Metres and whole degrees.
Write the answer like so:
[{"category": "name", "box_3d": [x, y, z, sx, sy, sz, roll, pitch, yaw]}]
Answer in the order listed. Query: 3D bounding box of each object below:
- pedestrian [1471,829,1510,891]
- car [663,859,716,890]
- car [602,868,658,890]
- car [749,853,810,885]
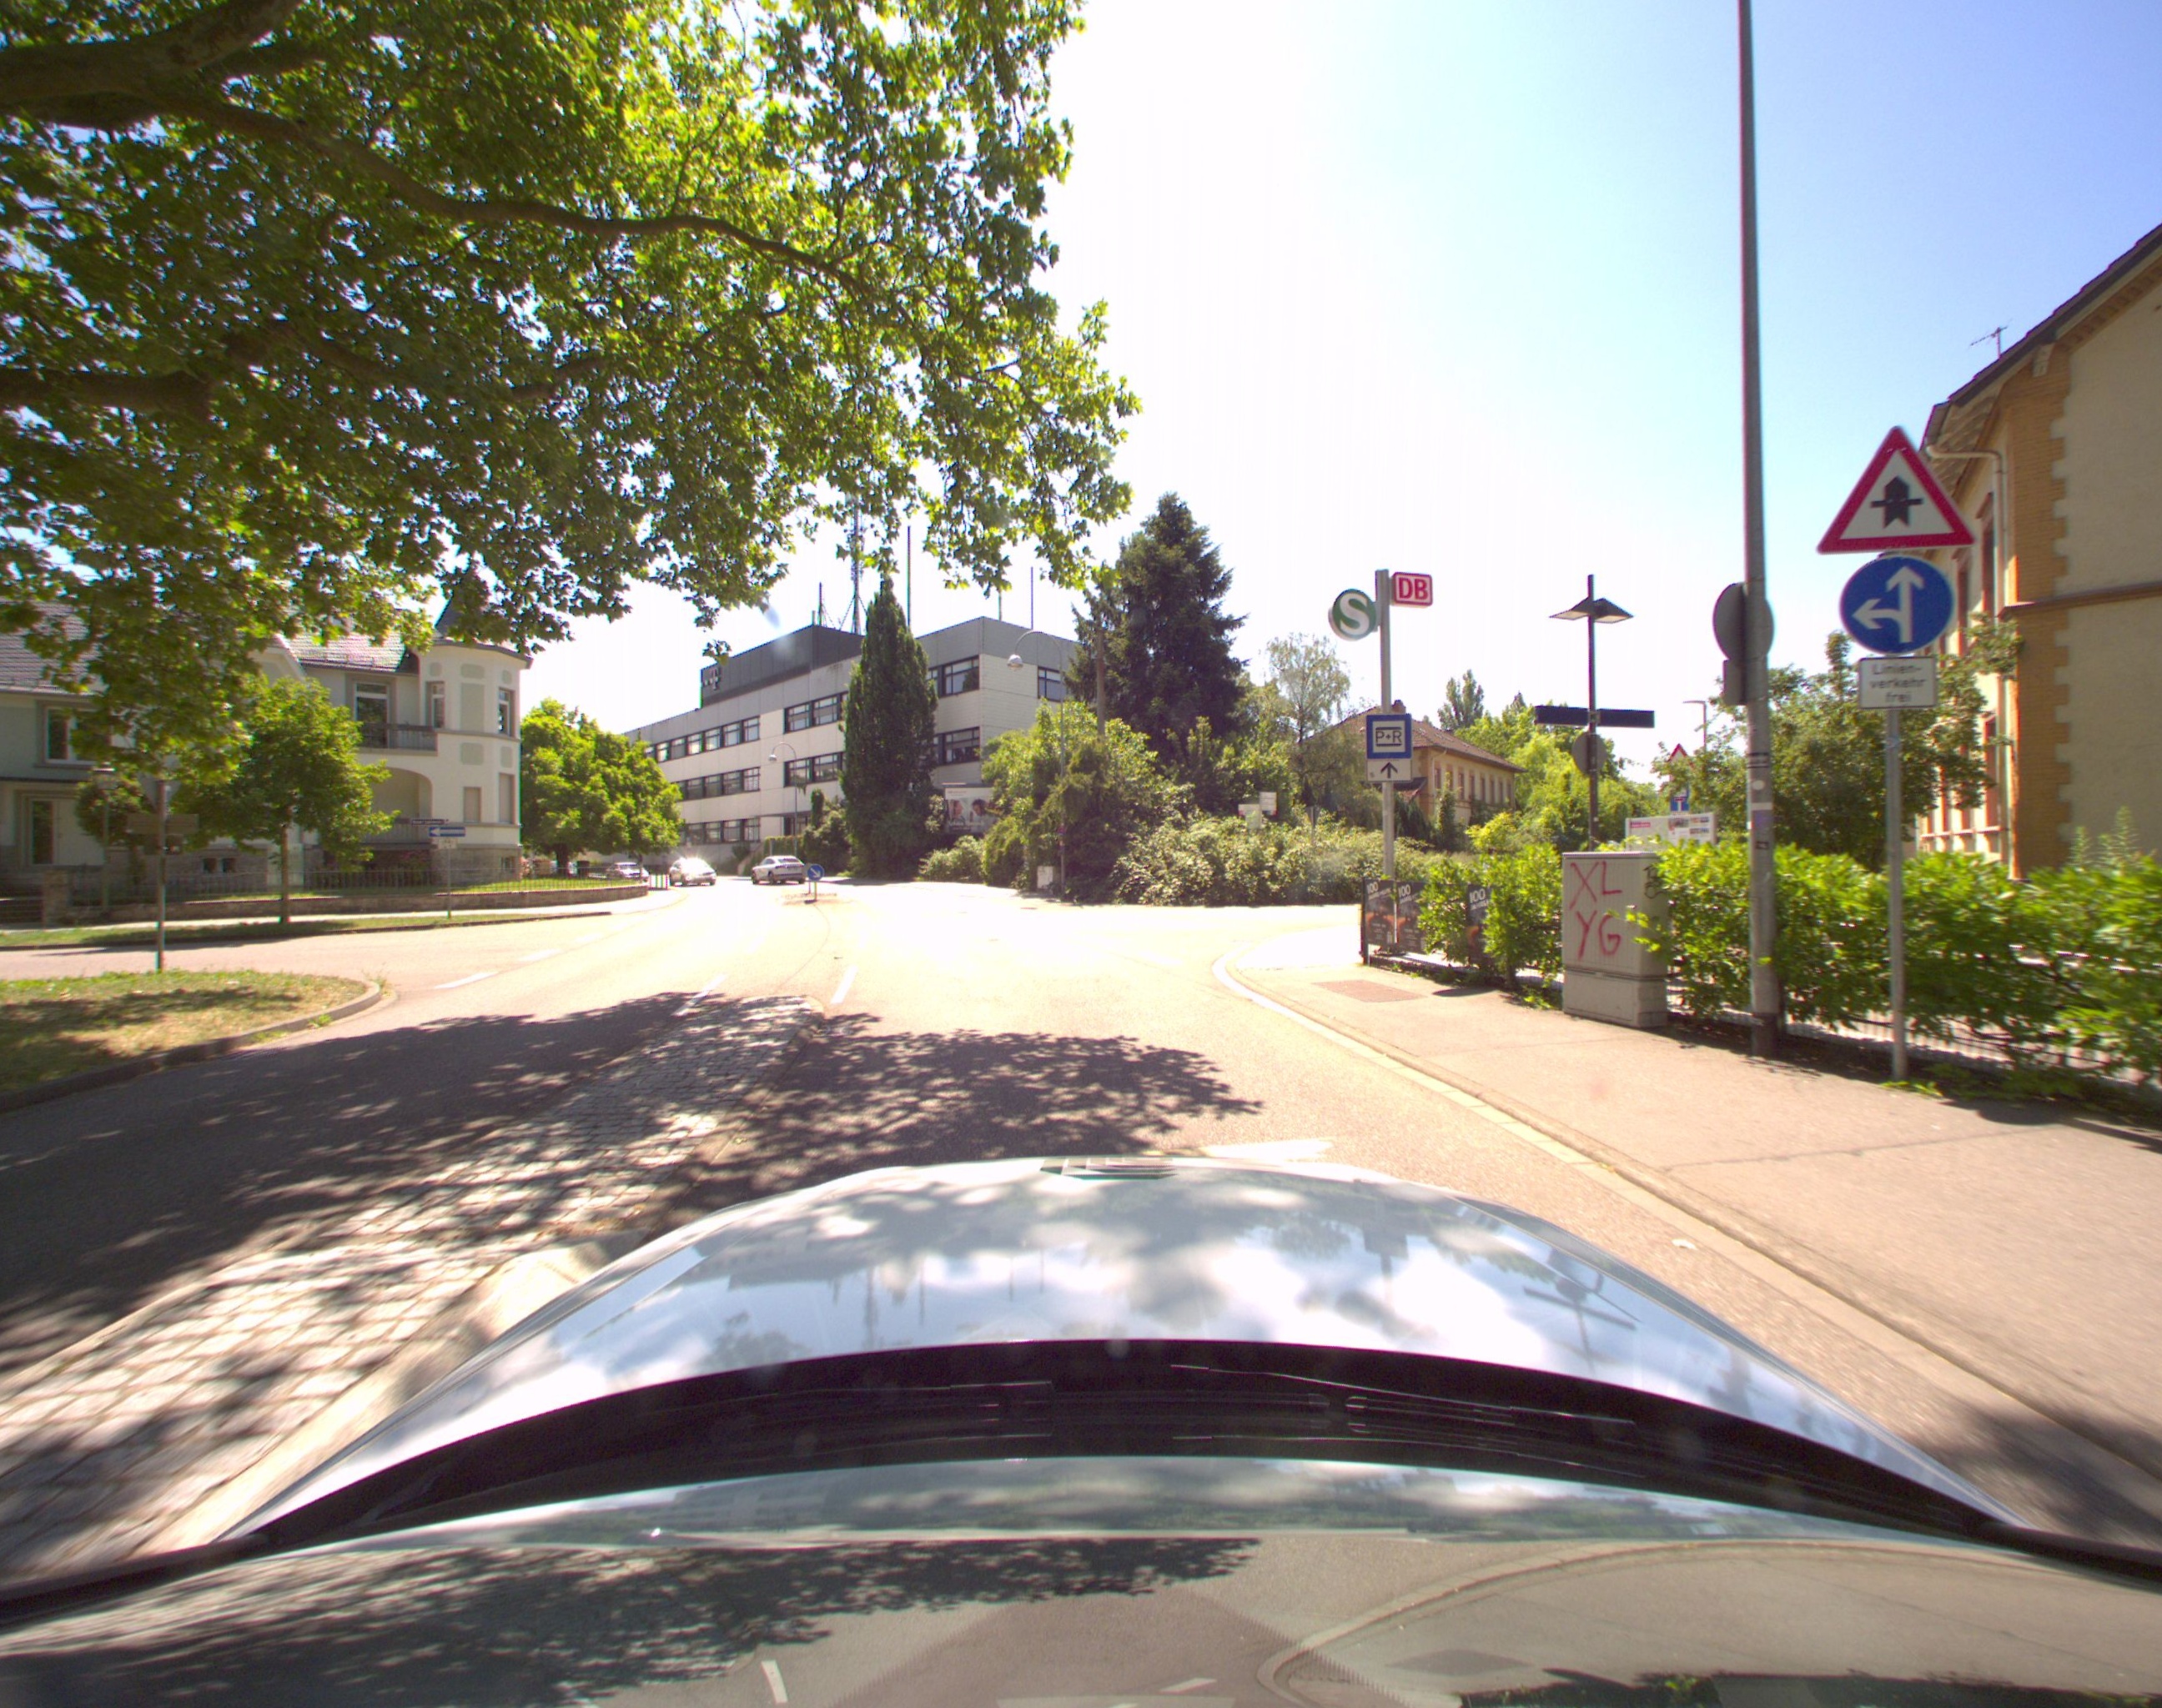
[{"category": "pedestrian", "box_3d": [10.952, 0.142, 21.800, 0.616, 1.627, 0.697, -1, 1, -15]}, {"category": "car", "box_3d": [-23.485, 1.189, 48.799, 1.888, 1.623, 4.254, -2, 2, -40]}, {"category": "car", "box_3d": [-32.325, 1.829, 58.323, 4.248, 1.435, 1.775, -2, 1, 35]}, {"category": "car", "box_3d": [-17.665, 0.832, 47.539, 1.952, 1.614, 4.420, -3, 2, -40]}]
